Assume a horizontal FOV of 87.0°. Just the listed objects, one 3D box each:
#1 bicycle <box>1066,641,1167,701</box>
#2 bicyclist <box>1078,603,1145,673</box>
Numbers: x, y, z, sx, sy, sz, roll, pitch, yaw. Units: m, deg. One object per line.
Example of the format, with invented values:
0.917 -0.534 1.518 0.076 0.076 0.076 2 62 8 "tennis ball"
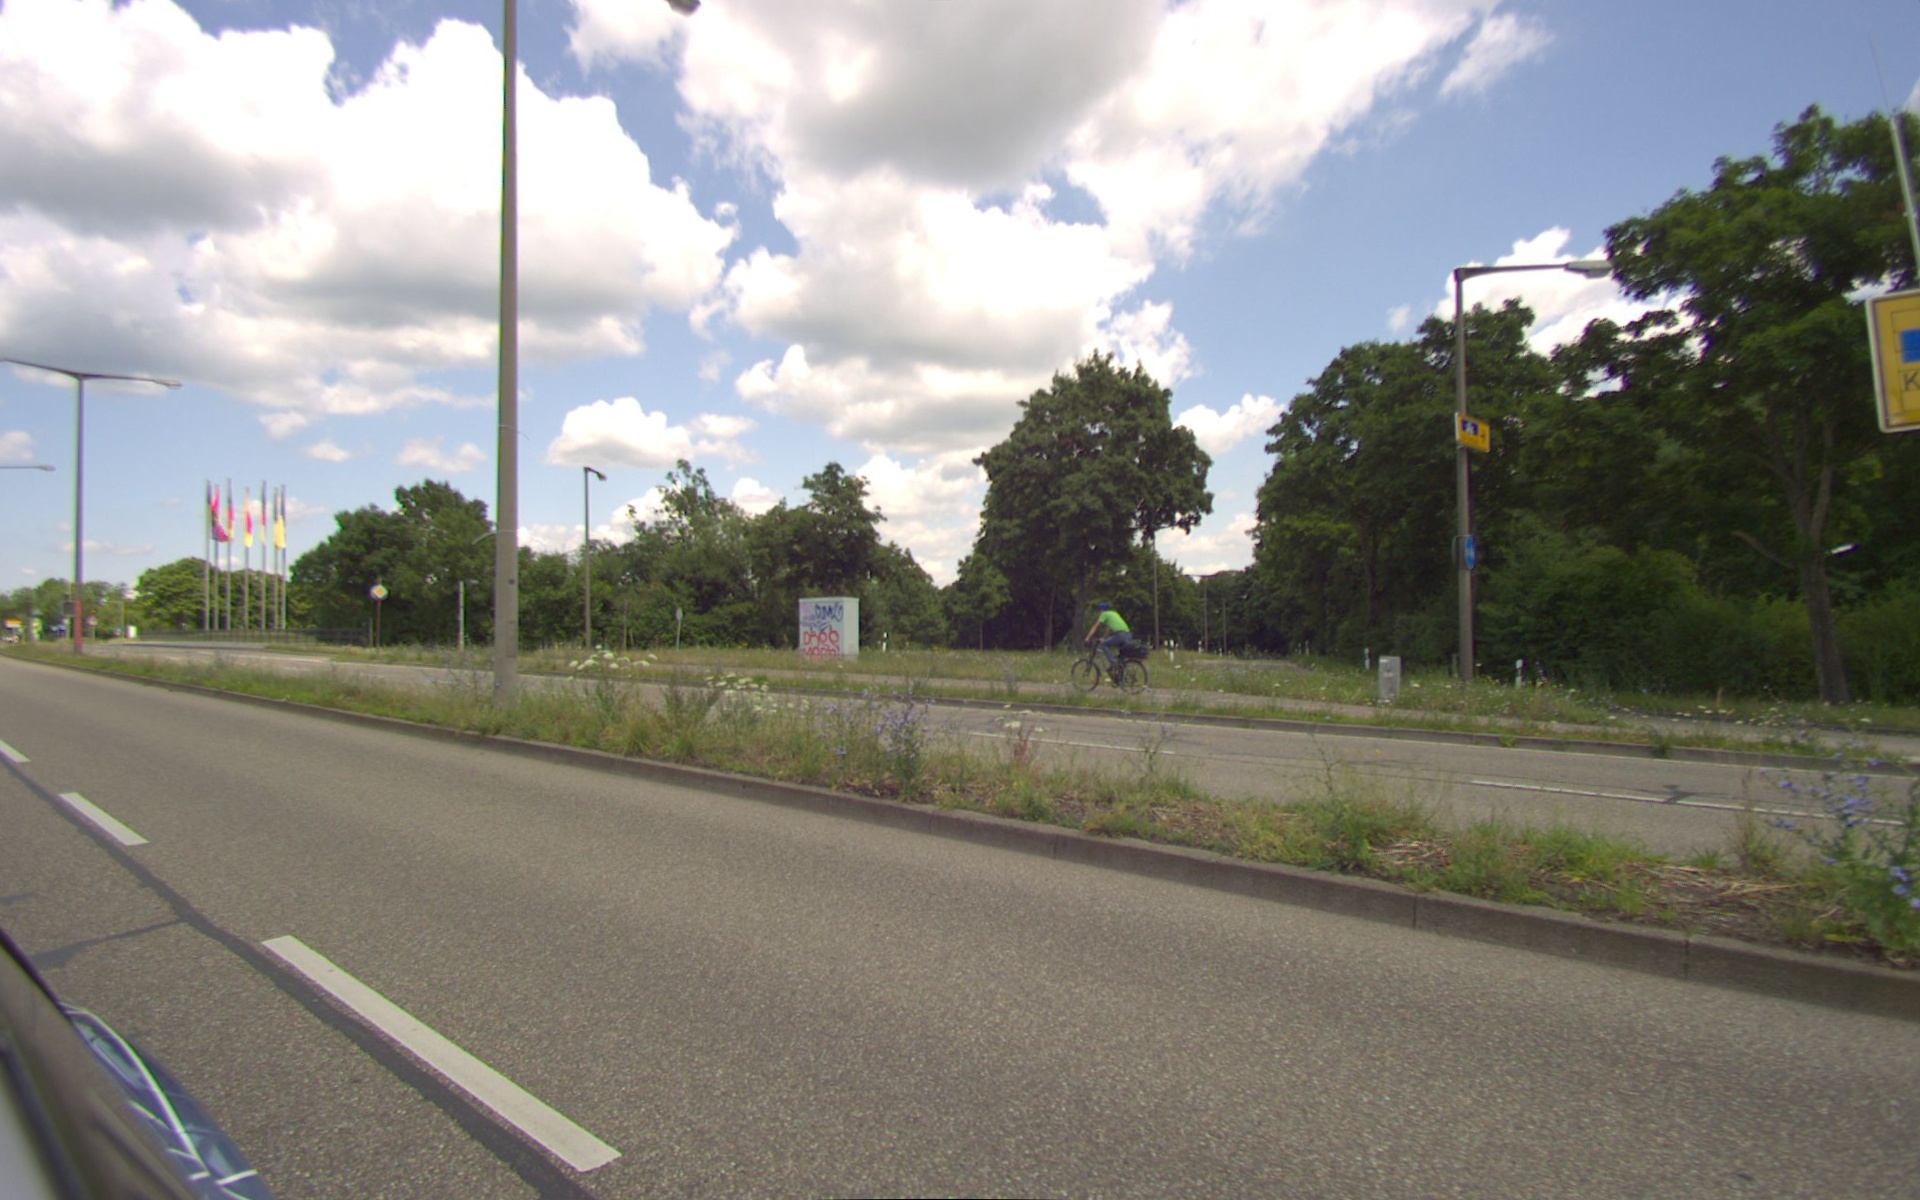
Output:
2.935 1.334 19.121 1.905 1.076 0.427 -3 -2 38 "bicycle"
2.860 0.726 19.168 1.105 1.282 0.515 -3 -2 38 "bicyclist"
